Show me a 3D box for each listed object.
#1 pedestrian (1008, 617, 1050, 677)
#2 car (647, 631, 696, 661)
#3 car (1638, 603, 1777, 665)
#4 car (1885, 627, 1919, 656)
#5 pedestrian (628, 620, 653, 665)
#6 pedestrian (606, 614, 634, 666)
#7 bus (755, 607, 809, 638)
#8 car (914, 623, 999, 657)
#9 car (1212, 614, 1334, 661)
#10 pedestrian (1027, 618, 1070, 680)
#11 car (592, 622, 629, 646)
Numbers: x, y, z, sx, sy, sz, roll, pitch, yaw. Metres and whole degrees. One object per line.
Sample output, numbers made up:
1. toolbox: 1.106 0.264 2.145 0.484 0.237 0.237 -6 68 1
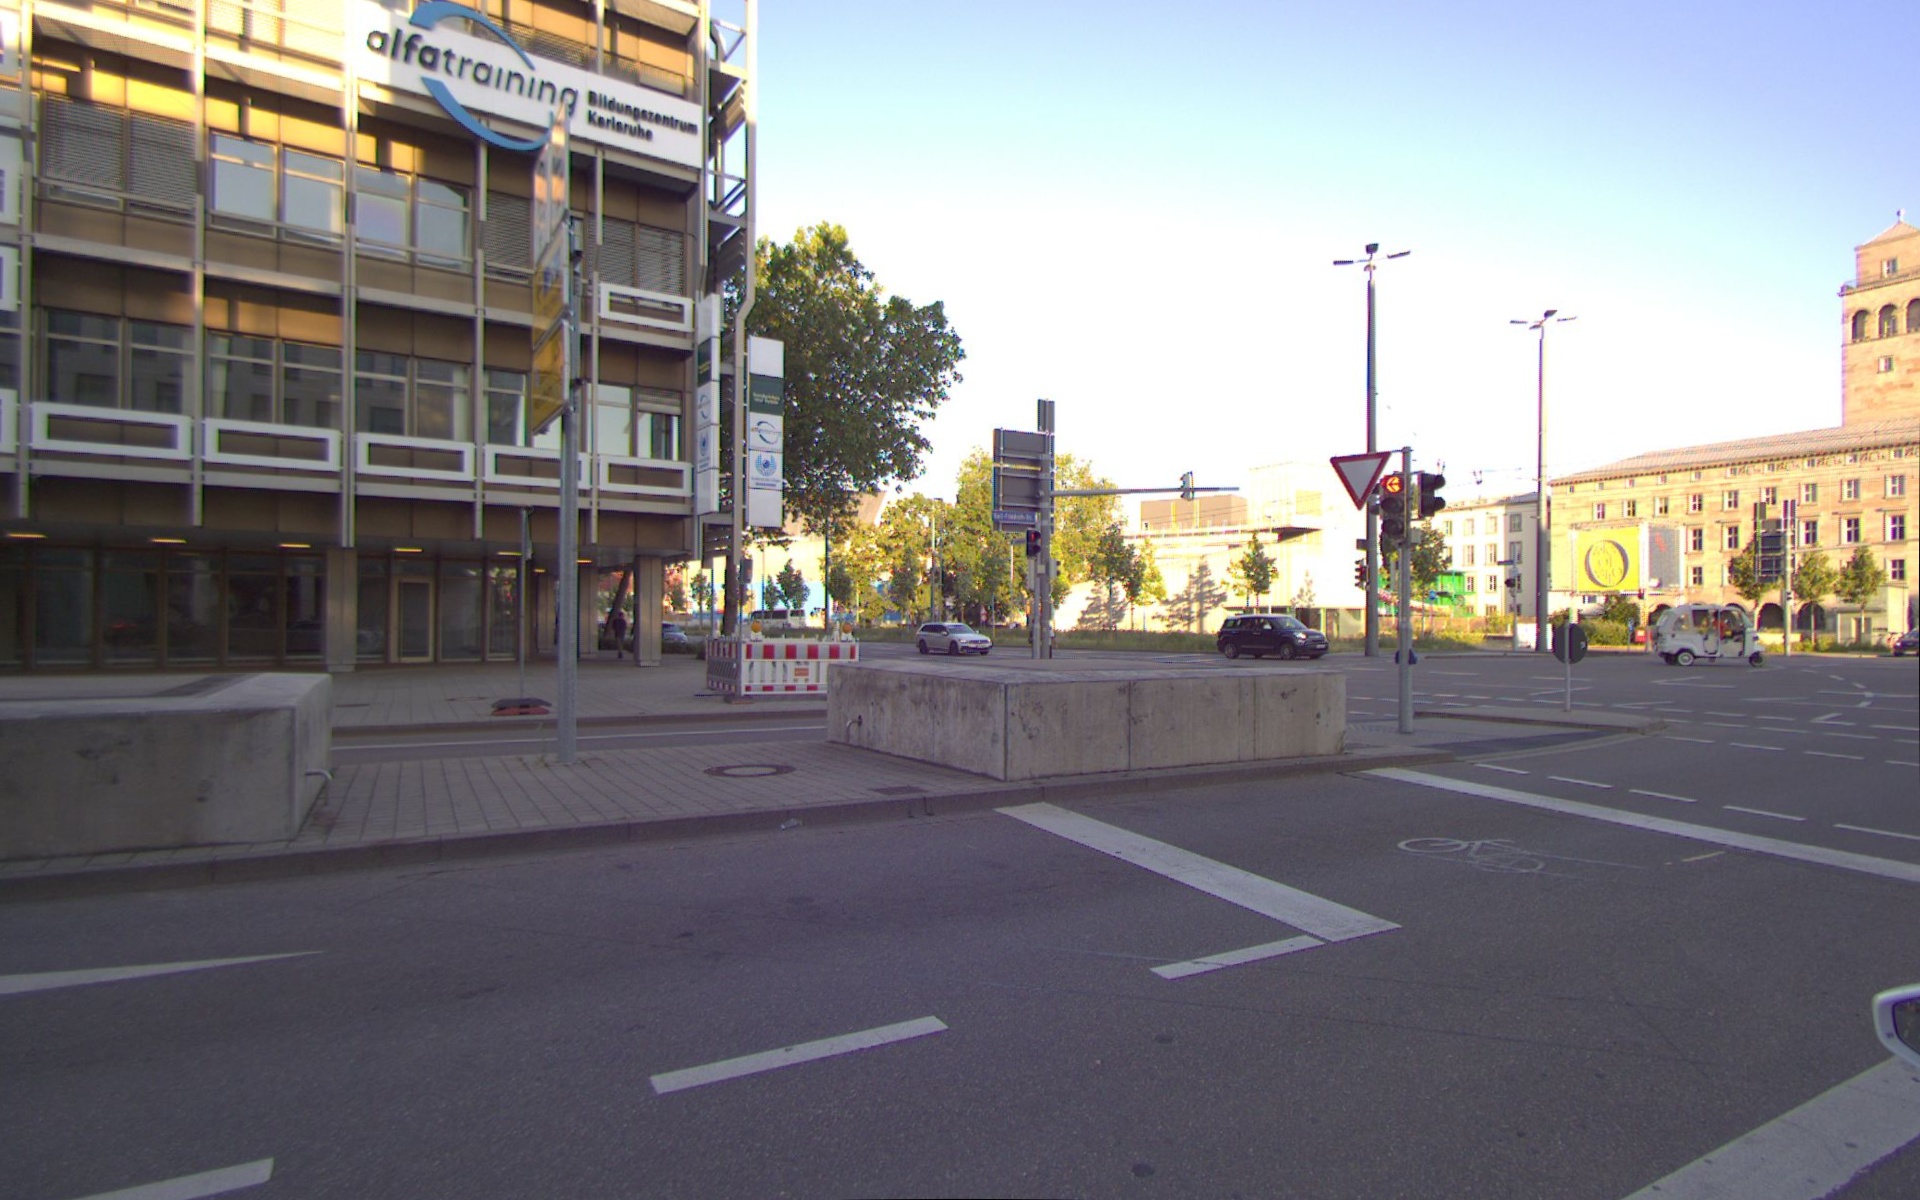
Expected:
1. pedestrian: 2.026 1.366 29.568 0.949 1.744 0.816 1 -1 -34
2. car: -16.976 2.680 58.940 1.722 1.605 4.554 0 -1 -30
3. car: 21.685 0.976 29.245 2.915 1.718 1.488 0 -1 20
4. car: 51.291 2.191 53.599 4.111 1.485 1.813 0 -1 -32
5. pedestrian: -11.665 1.543 36.643 0.660 1.606 0.715 2 0 -34
6. pedestrian: -12.267 1.453 36.237 0.749 1.830 0.715 2 0 -35
7. bus: -23.186 2.852 130.158 2.959 3.818 10.341 1 -1 -34
8. car: -0.246 1.819 46.885 1.831 1.476 4.550 0 -1 -33
9. car: 11.391 1.332 36.752 1.727 1.626 4.094 1 -1 -35
10. pedestrian: 2.533 1.378 28.835 0.949 1.744 0.816 1 -1 -34
11. car: -24.368 2.371 69.944 1.722 1.605 3.764 0 -1 -31
